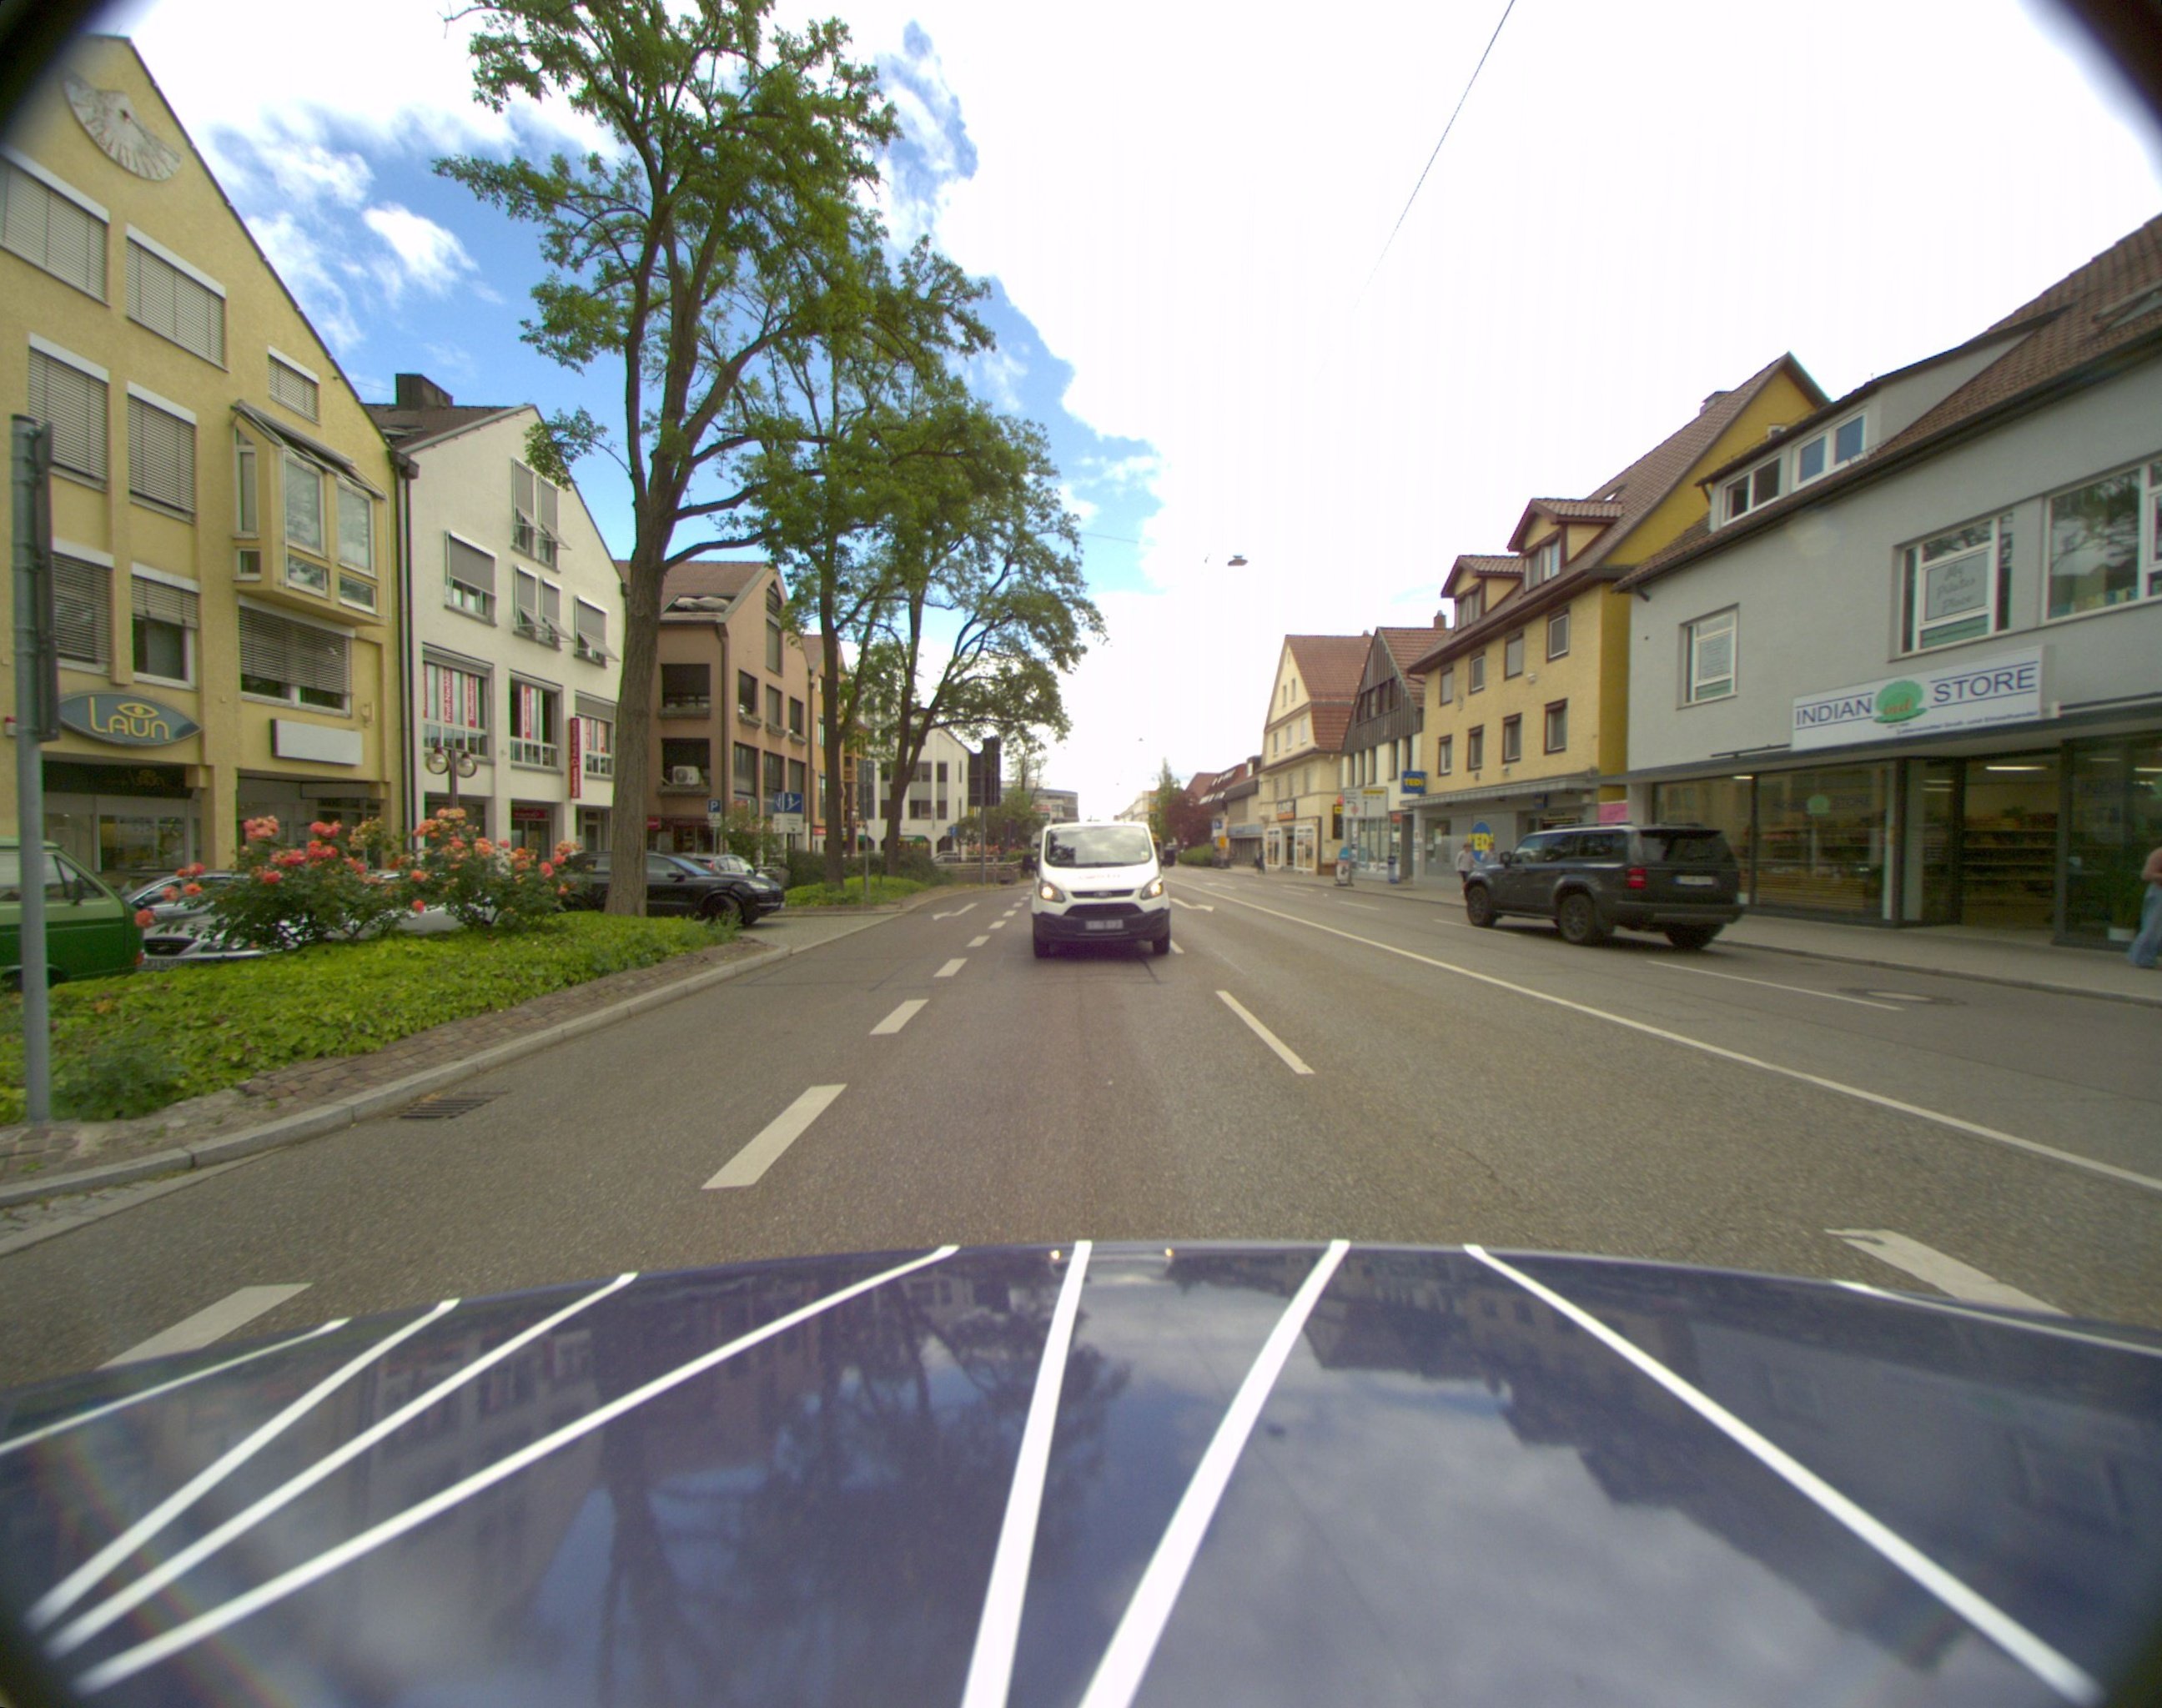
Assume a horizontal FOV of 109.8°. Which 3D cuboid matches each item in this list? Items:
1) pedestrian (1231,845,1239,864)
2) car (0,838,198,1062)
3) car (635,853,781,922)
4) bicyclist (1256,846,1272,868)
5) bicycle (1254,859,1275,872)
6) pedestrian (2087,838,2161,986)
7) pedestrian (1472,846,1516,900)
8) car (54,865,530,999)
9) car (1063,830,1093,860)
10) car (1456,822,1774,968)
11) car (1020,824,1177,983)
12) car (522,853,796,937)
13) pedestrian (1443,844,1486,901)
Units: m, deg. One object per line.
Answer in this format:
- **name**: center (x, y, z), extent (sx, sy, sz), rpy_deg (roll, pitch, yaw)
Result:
- **pedestrian**: center (15.151, 0.024, 74.883), extent (0.673, 1.891, 0.678), rpy_deg (0, 1, 0)
- **car**: center (-10.097, 0.826, 5.485), extent (1.999, 1.865, 4.751), rpy_deg (1, 1, -2)
- **car**: center (-10.371, 0.849, 21.582), extent (1.999, 1.645, 4.751), rpy_deg (1, 1, -3)
- **bicyclist**: center (11.550, 0.180, 47.944), extent (0.773, 1.415, 0.752), rpy_deg (0, 1, -1)
- **bicycle**: center (11.541, 0.711, 47.951), extent (0.773, 0.818, 2.239), rpy_deg (0, 1, -1)
- **pedestrian**: center (12.644, 0.646, 8.726), extent (1.001, 1.657, 0.872), rpy_deg (-1, 1, 1)
- **pedestrian**: center (12.307, 0.555, 22.680), extent (0.812, 1.574, 0.920), rpy_deg (0, 1, 1)
- **car**: center (-10.346, 0.891, 10.697), extent (1.843, 1.302, 4.752), rpy_deg (1, 1, -2)
- **car**: center (-0.191, -0.667, 54.748), extent (1.940, 1.968, 5.779), rpy_deg (-2, 1, 0)
- **car**: center (8.501, 0.543, 12.811), extent (1.928, 1.957, 4.769), rpy_deg (1, 1, -1)
- **car**: center (0.230, 0.605, 12.608), extent (1.940, 1.968, 5.779), rpy_deg (-2, 1, 0)
- **car**: center (-8.870, 0.859, 16.408), extent (4.754, 1.669, 1.998), rpy_deg (1, 0, -9)
- **pedestrian**: center (11.440, 0.538, 22.676), extent (0.812, 1.652, 0.920), rpy_deg (0, 1, 1)
